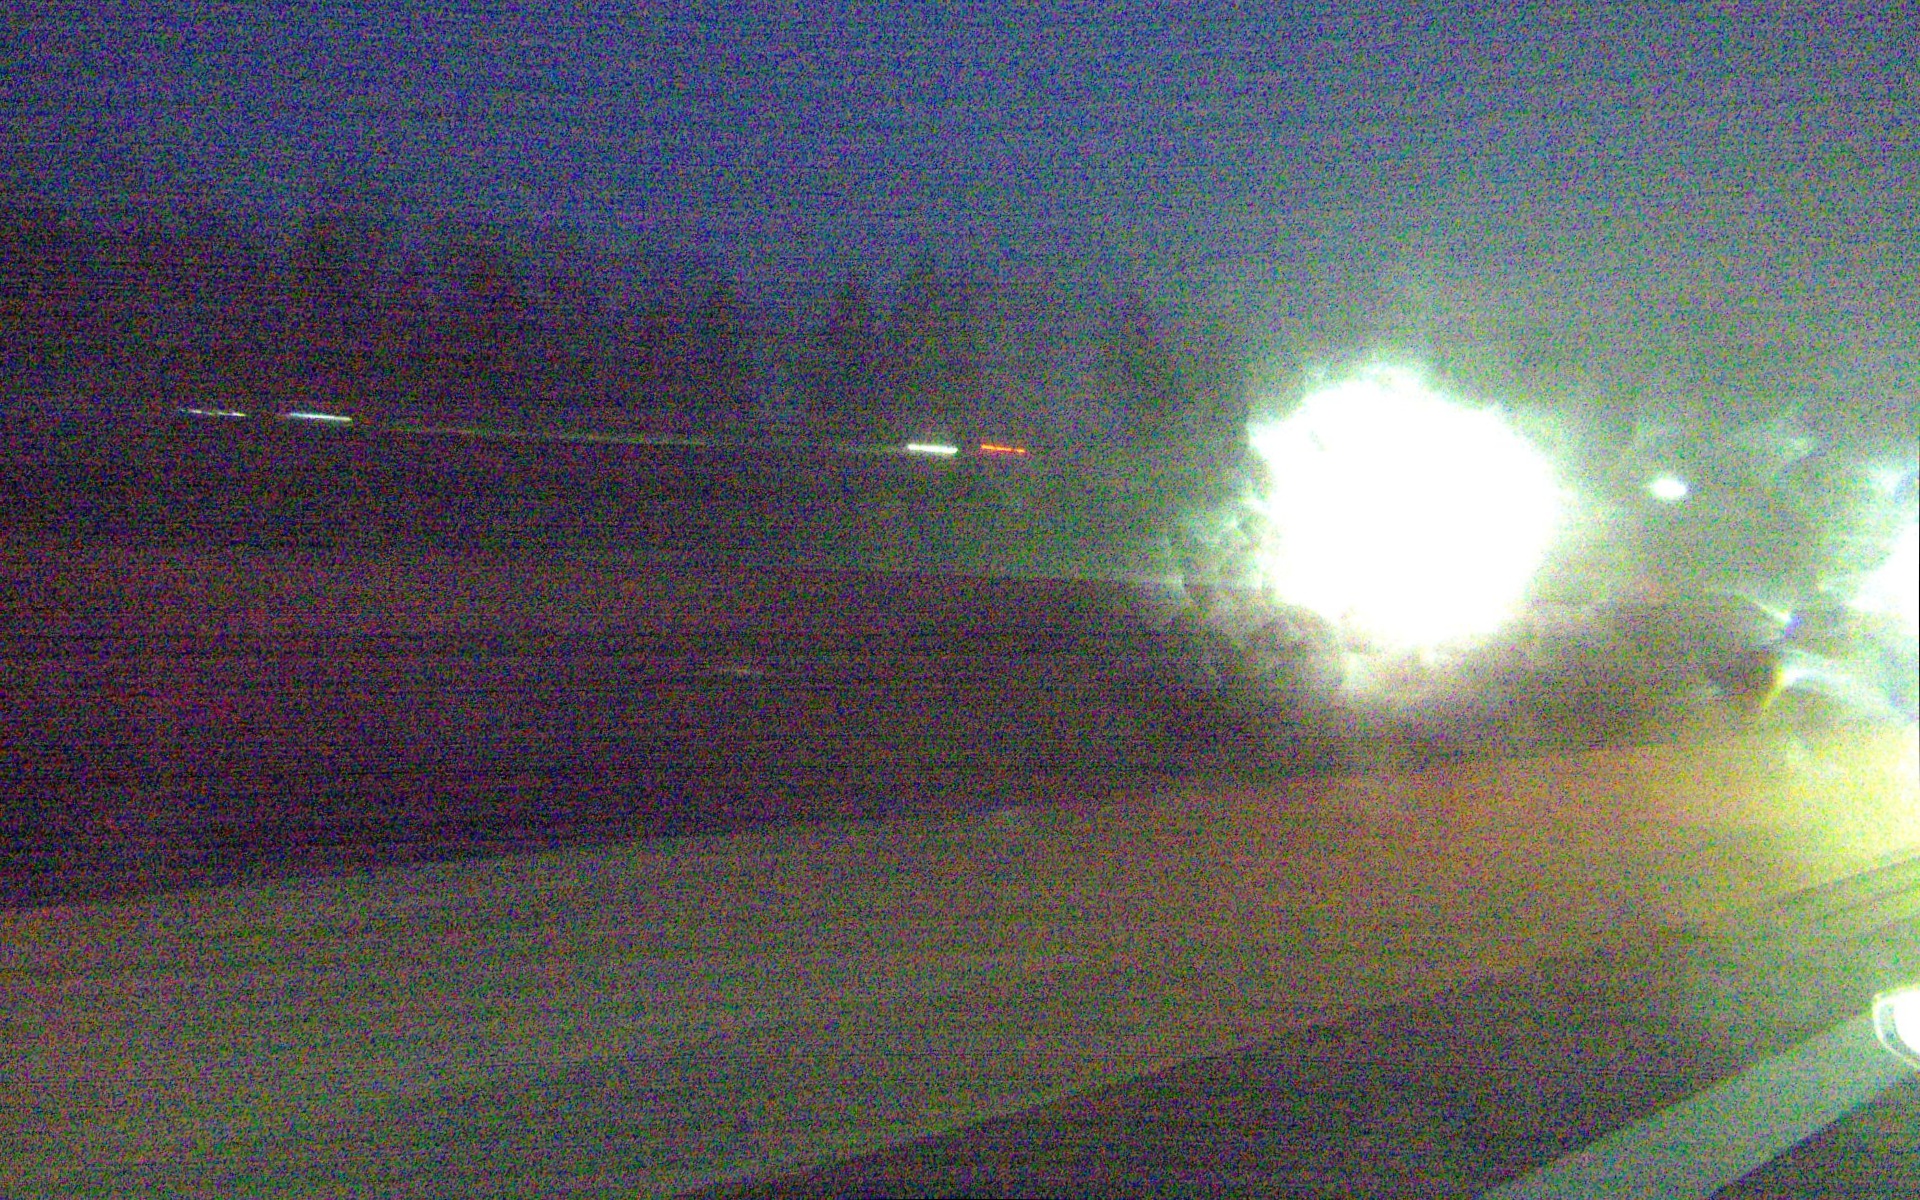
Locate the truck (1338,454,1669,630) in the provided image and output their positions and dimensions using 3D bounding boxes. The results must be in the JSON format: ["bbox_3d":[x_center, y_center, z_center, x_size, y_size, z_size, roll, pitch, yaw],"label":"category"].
[{"bbox_3d":[15.092,-1.491,27.456,10.532,4.092,2.931,0,5,-32],"label":"truck"}]

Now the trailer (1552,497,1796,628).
[{"bbox_3d":[23.448,-1.225,32.809,9.394,3.800,2.911,0,5,-32],"label":"trailer"}]
